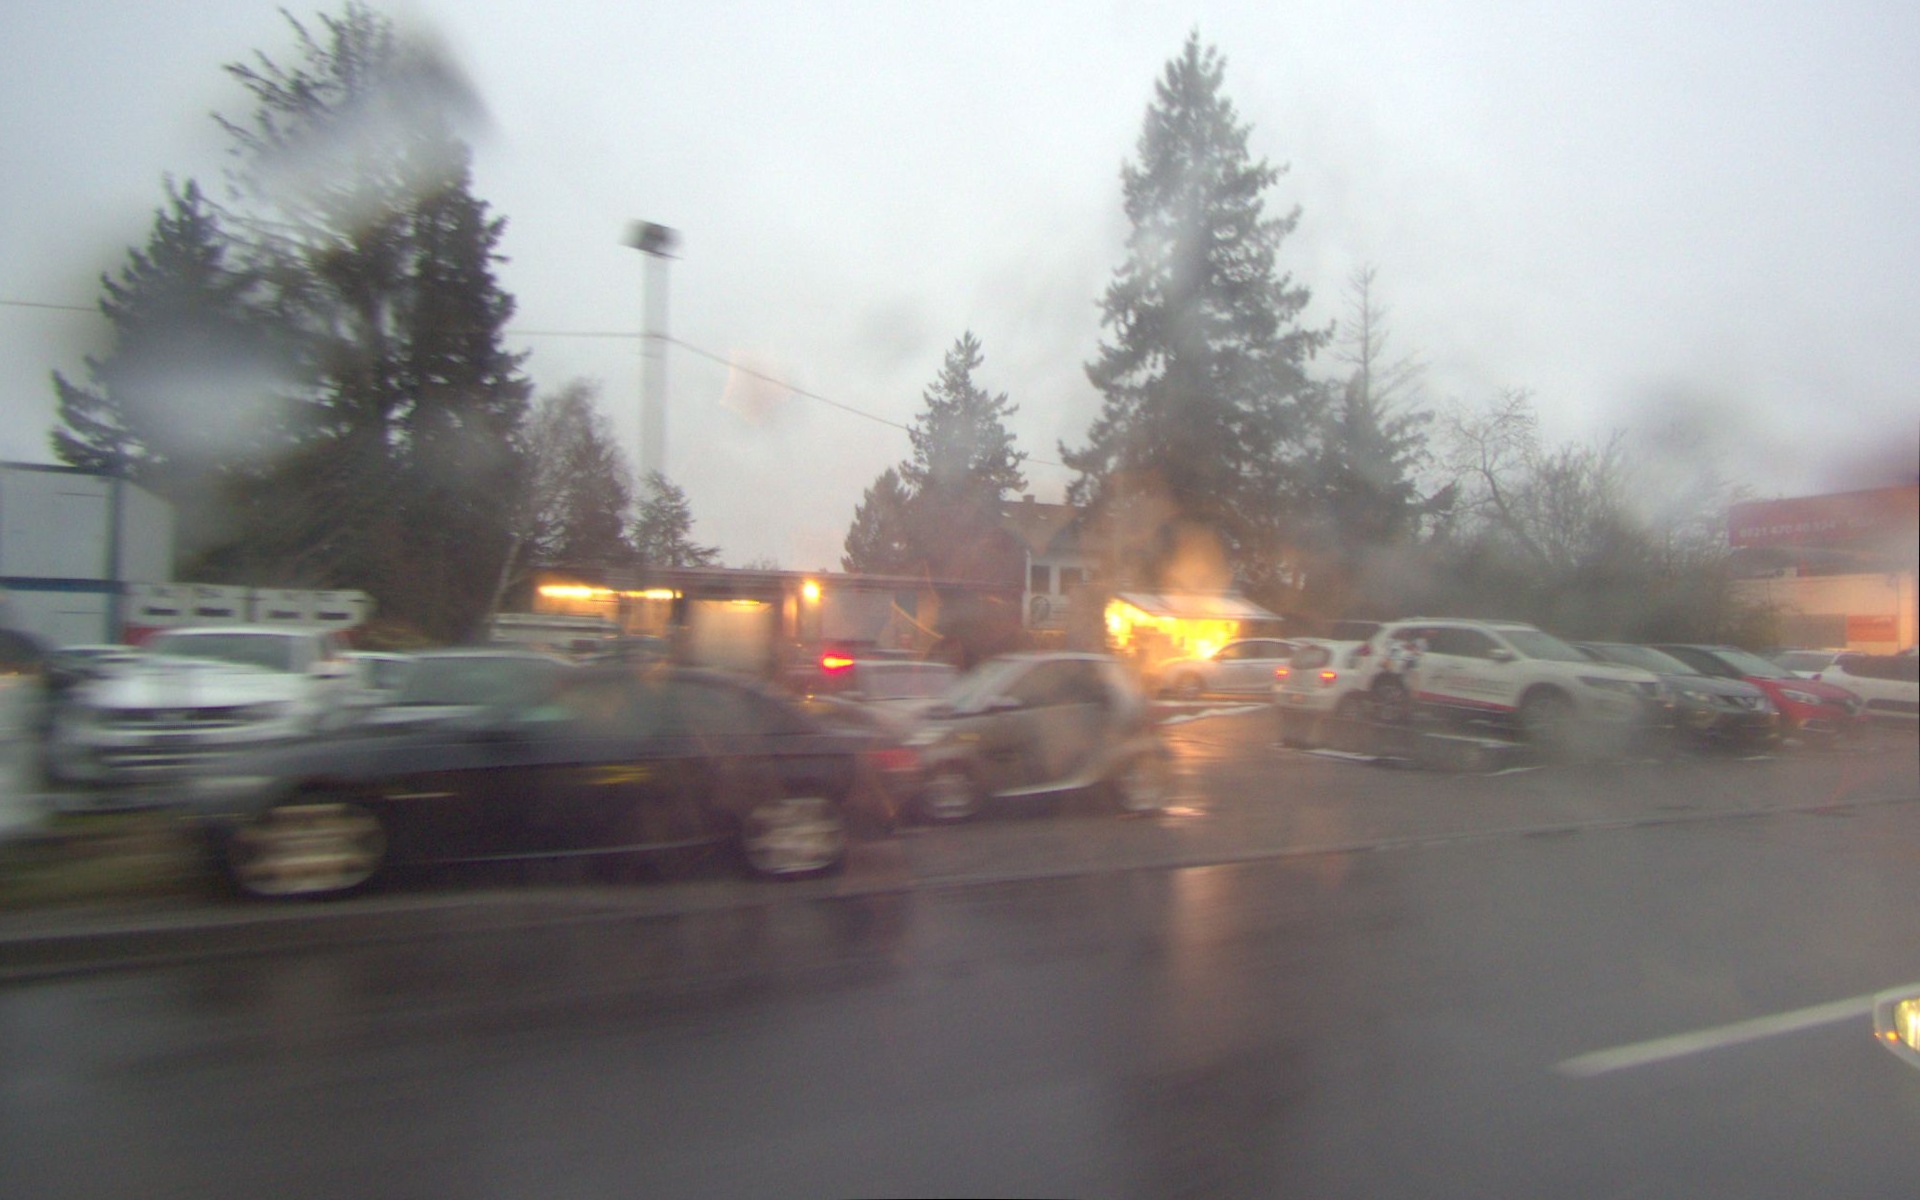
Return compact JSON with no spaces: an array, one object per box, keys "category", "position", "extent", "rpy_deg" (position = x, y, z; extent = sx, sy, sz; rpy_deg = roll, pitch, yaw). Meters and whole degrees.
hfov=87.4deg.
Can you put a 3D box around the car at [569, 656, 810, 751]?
[{"category":"car","position":[-4.351,1.643,16.402],"extent":[3.585,1.416,1.668],"rpy_deg":[1,-3,-15]}]

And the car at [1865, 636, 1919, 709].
[{"category":"car","position":[23.397,1.678,22.640],"extent":[1.912,1.671,4.043],"rpy_deg":[2,-2,-19]}]

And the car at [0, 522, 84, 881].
[{"category":"car","position":[-7.513,0.521,4.915],"extent":[4.416,2.040,1.833],"rpy_deg":[2,-2,-20]}]

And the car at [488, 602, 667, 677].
[{"category":"car","position":[-12.355,1.293,32.493],"extent":[5.219,2.292,1.987],"rpy_deg":[2,-2,-27]}]

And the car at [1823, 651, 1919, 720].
[{"category":"car","position":[20.964,1.844,21.157],"extent":[1.813,1.363,3.851],"rpy_deg":[2,-1,-22]}]

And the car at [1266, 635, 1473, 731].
[{"category":"car","position":[7.898,1.558,19.382],"extent":[3.655,1.698,1.665],"rpy_deg":[2,-2,-24]}]

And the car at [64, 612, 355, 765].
[{"category":"car","position":[-8.209,0.877,11.423],"extent":[1.790,1.395,4.038],"rpy_deg":[2,-2,-25]}]

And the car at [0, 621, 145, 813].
[{"category":"car","position":[-10.535,1.103,10.594],"extent":[1.997,1.755,4.038],"rpy_deg":[2,-2,-25]}]

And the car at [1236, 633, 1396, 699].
[{"category":"car","position":[9.173,1.669,26.221],"extent":[1.763,1.530,3.981],"rpy_deg":[1,-1,-21]}]

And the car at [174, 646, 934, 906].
[{"category":"car","position":[-2.417,1.075,6.784],"extent":[4.198,1.338,1.566],"rpy_deg":[4,-5,-24]}]

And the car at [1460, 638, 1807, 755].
[{"category":"car","position":[10.459,1.414,16.036],"extent":[1.963,1.518,4.332],"rpy_deg":[1,-2,-18]}]

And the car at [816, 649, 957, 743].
[{"category":"car","position":[-1.433,1.710,18.559],"extent":[1.335,1.568,3.142],"rpy_deg":[1,-3,-31]}]

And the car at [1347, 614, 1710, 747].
[{"category":"car","position":[8.339,1.093,15.250],"extent":[1.983,1.698,4.521],"rpy_deg":[2,-2,-25]}]

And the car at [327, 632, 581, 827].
[{"category":"car","position":[-4.741,1.173,9.917],"extent":[1.783,1.496,3.905],"rpy_deg":[2,-5,-21]}]

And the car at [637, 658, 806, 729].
[{"category":"car","position":[-5.303,2.036,22.432],"extent":[3.396,1.423,1.526],"rpy_deg":[2,-2,-30]}]

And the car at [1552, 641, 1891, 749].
[{"category":"car","position":[12.693,1.499,17.118],"extent":[1.798,1.518,4.329],"rpy_deg":[1,-2,-21]}]

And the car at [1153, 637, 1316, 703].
[{"category":"car","position":[6.369,1.603,23.615],"extent":[3.549,1.402,1.676],"rpy_deg":[1,-2,12]}]

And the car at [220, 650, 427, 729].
[{"category":"car","position":[-11.774,1.622,18.773],"extent":[3.131,1.349,1.400],"rpy_deg":[1,-3,-31]}]

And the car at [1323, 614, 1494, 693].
[{"category":"car","position":[11.858,1.367,26.813],"extent":[1.929,1.947,3.981],"rpy_deg":[1,-1,-21]}]

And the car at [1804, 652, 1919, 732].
[{"category":"car","position":[19.448,1.844,19.928],"extent":[1.751,1.479,3.762],"rpy_deg":[2,-1,-24]}]

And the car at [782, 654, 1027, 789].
[{"category":"car","position":[-0.959,1.460,13.371],"extent":[1.758,1.456,4.745],"rpy_deg":[1,-4,-23]}]

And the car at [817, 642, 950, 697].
[{"category":"car","position":[-1.975,1.761,25.849],"extent":[3.126,1.349,1.402],"rpy_deg":[1,-3,-26]}]

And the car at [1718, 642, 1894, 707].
[{"category":"car","position":[21.540,1.866,25.593],"extent":[3.813,1.509,1.831],"rpy_deg":[1,-1,-21]}]

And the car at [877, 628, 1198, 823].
[{"category":"car","position":[0.701,1.127,9.540],"extent":[2.821,1.666,1.173],"rpy_deg":[1,-3,-14]}]

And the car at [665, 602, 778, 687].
[{"category":"car","position":[-7.173,1.288,29.929],"extent":[2.239,2.311,4.213],"rpy_deg":[2,-2,-29]}]

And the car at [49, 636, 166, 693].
[{"category":"car","position":[-19.681,1.466,23.299],"extent":[1.326,1.215,2.793],"rpy_deg":[2,-2,-25]}]
